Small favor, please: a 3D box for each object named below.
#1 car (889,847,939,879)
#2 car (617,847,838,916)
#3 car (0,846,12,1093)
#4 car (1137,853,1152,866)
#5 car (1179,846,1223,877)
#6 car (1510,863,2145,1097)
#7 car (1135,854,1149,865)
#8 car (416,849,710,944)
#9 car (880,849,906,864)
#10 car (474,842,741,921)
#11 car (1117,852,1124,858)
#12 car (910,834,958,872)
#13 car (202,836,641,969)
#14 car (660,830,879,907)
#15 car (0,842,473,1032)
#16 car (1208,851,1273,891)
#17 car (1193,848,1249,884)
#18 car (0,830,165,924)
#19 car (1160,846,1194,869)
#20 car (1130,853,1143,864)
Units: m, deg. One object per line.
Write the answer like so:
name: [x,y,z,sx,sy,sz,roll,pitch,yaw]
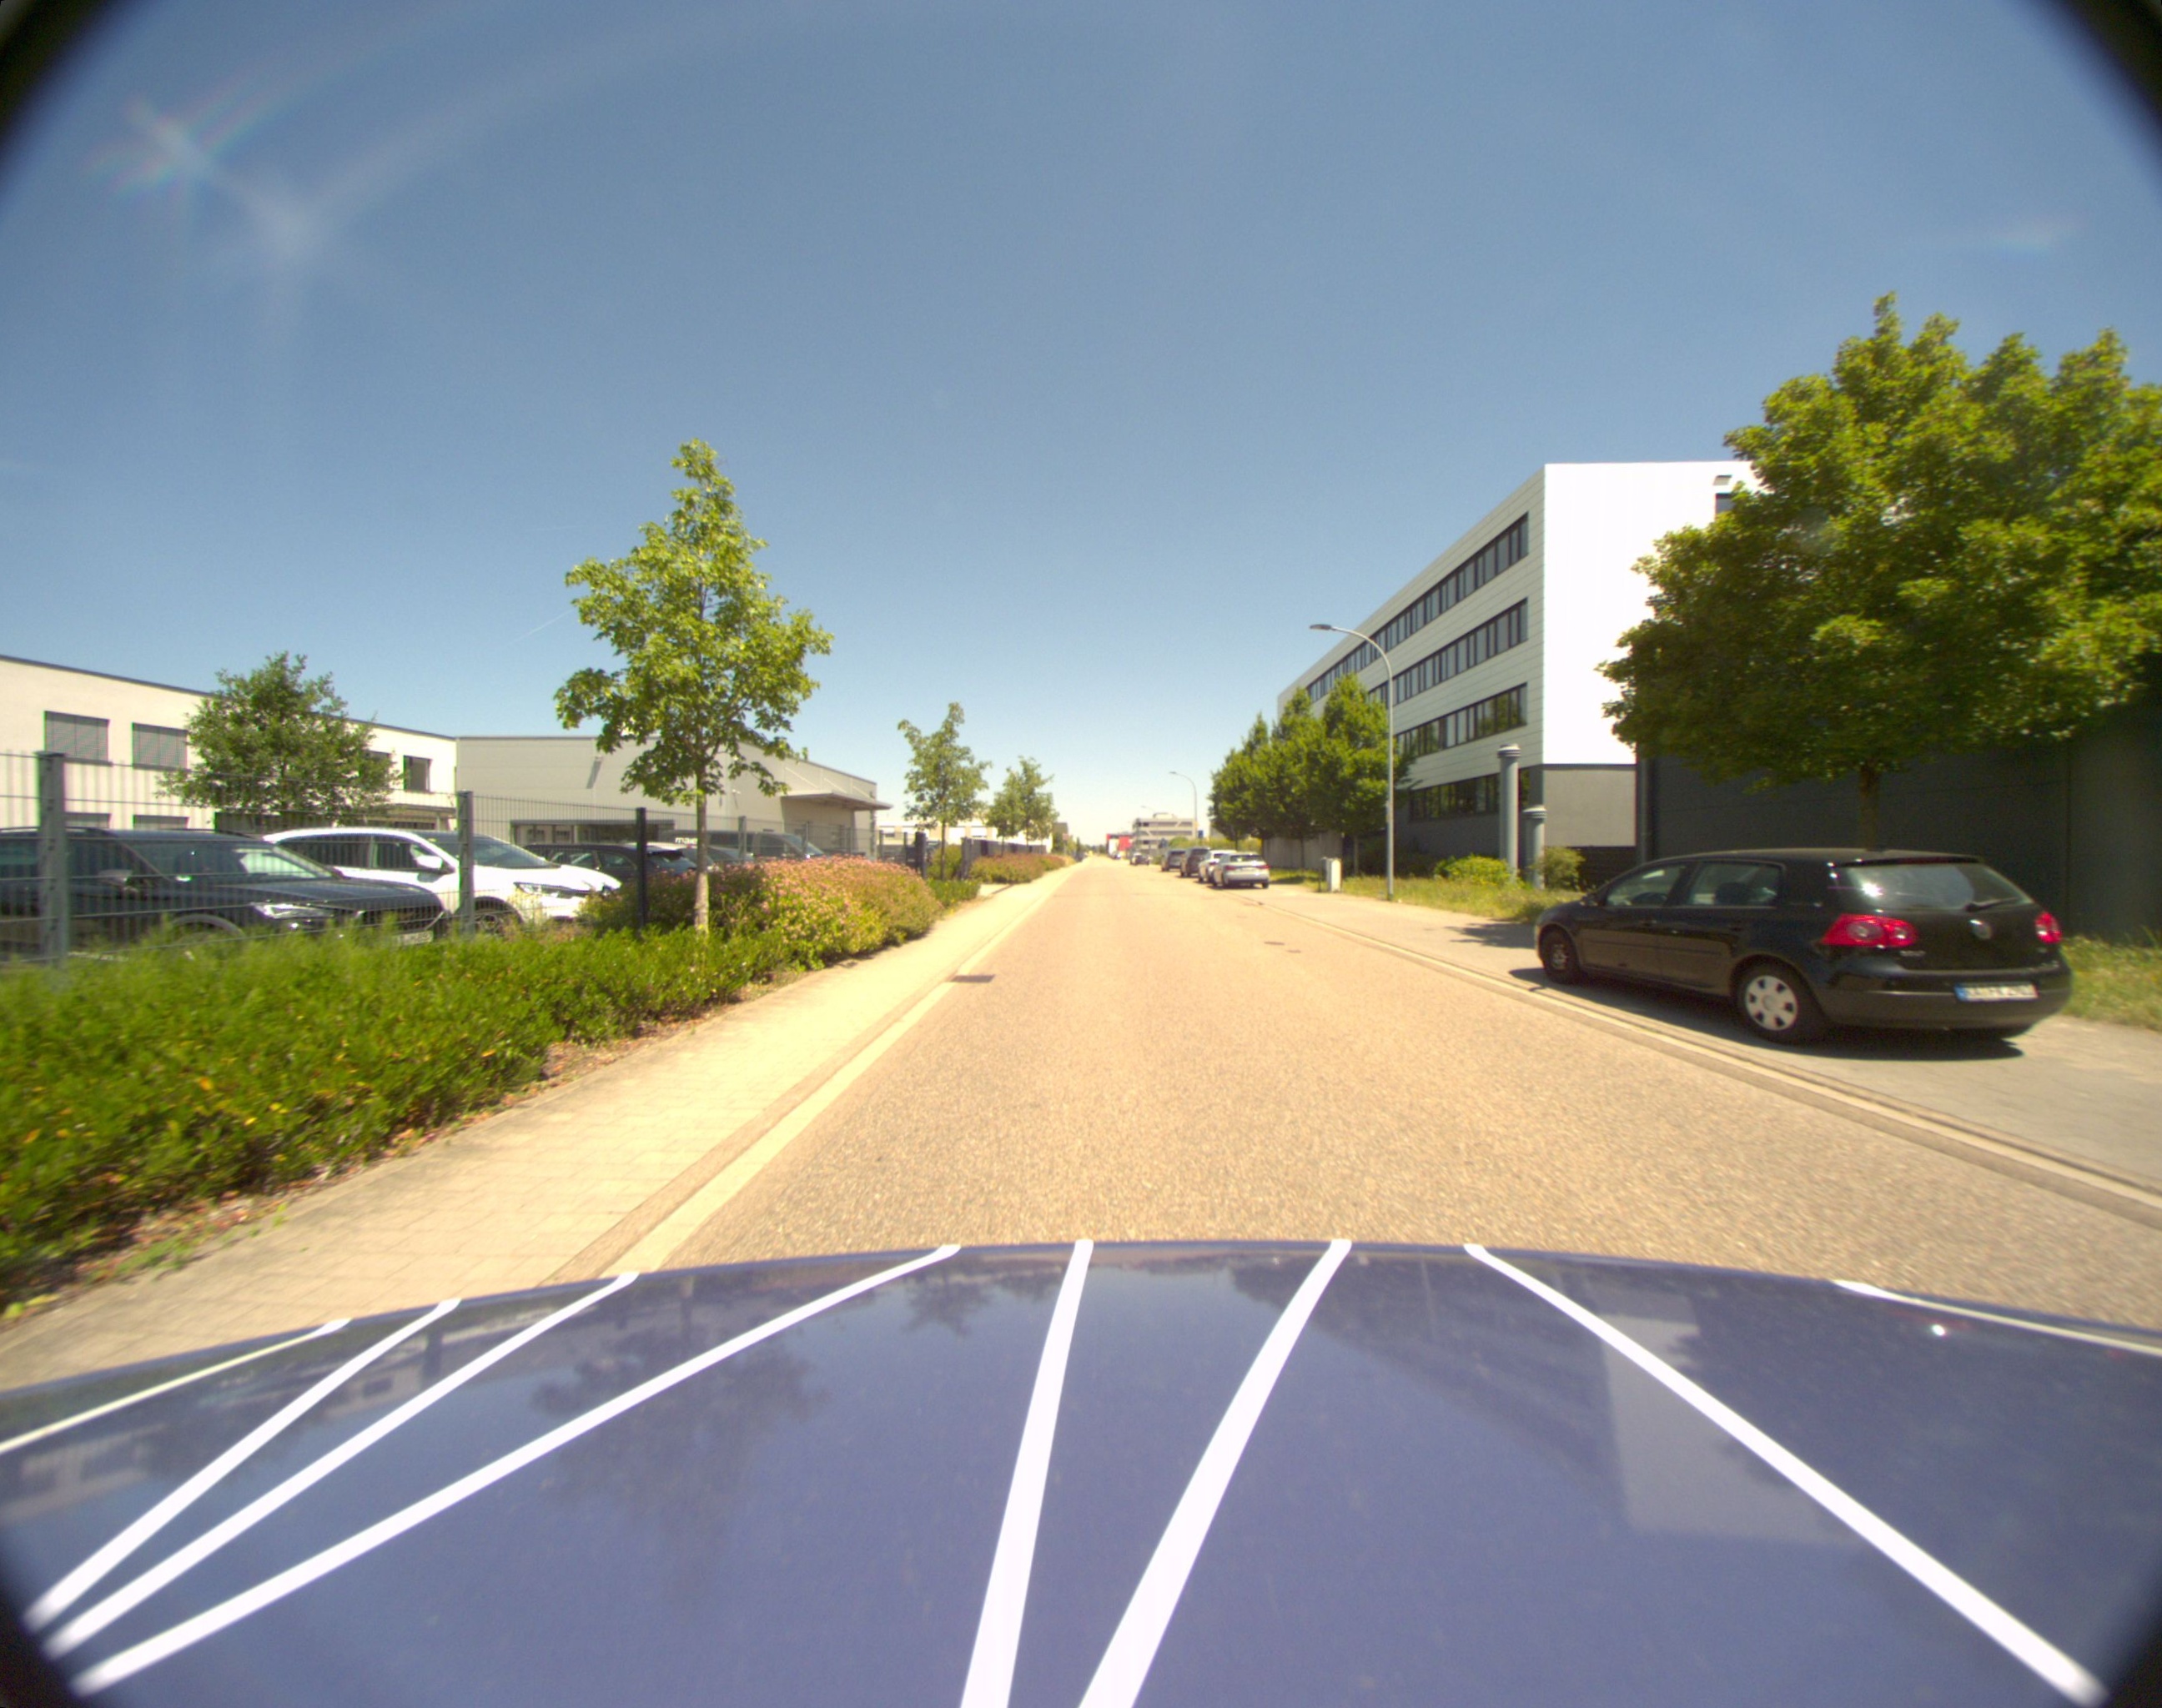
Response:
car: [-8.248,0.406,37.847,1.546,1.547,3.879,0,1,1]
car: [-8.094,0.596,17.640,4.355,1.441,1.602,1,1,0]
car: [-8.579,0.682,3.695,4.051,1.495,1.918,1,1,0]
car: [7.827,0.667,94.089,1.678,1.442,4.069,0,1,1]
car: [6.547,0.357,41.814,1.775,1.614,4.582,0,1,1]
car: [6.064,0.852,7.064,1.775,1.423,4.200,-1,1,0]
car: [8.226,0.743,103.407,1.678,1.521,3.757,0,1,1]
car: [-8.324,0.648,12.439,3.674,1.414,1.644,0,1,0]
car: [-17.989,0.223,72.876,1.518,1.422,3.783,0,1,0]
car: [-9.426,0.517,15.359,4.290,1.436,1.755,1,1,0]
car: [10.592,0.233,205.029,1.694,1.481,3.660,-2,1,2]
car: [-8.610,-0.050,44.764,1.881,2.074,4.225,1,0,1]
car: [-8.143,0.552,9.678,3.997,1.513,1.822,0,1,0]
car: [-8.313,0.362,20.592,5.126,1.863,1.902,1,1,0]
car: [-8.337,0.660,7.010,4.051,1.482,1.743,1,1,0]
car: [6.210,0.606,30.020,1.775,1.423,3.940,-1,1,1]
car: [6.360,0.507,34.904,1.775,1.422,4.201,-4,1,1]
car: [-19.463,0.342,13.508,4.051,1.543,1.918,1,1,0]
car: [6.828,0.271,54.595,1.775,1.578,4.481,-1,0,-1]
car: [8.025,0.633,109.958,1.678,1.521,3.909,-1,1,1]
